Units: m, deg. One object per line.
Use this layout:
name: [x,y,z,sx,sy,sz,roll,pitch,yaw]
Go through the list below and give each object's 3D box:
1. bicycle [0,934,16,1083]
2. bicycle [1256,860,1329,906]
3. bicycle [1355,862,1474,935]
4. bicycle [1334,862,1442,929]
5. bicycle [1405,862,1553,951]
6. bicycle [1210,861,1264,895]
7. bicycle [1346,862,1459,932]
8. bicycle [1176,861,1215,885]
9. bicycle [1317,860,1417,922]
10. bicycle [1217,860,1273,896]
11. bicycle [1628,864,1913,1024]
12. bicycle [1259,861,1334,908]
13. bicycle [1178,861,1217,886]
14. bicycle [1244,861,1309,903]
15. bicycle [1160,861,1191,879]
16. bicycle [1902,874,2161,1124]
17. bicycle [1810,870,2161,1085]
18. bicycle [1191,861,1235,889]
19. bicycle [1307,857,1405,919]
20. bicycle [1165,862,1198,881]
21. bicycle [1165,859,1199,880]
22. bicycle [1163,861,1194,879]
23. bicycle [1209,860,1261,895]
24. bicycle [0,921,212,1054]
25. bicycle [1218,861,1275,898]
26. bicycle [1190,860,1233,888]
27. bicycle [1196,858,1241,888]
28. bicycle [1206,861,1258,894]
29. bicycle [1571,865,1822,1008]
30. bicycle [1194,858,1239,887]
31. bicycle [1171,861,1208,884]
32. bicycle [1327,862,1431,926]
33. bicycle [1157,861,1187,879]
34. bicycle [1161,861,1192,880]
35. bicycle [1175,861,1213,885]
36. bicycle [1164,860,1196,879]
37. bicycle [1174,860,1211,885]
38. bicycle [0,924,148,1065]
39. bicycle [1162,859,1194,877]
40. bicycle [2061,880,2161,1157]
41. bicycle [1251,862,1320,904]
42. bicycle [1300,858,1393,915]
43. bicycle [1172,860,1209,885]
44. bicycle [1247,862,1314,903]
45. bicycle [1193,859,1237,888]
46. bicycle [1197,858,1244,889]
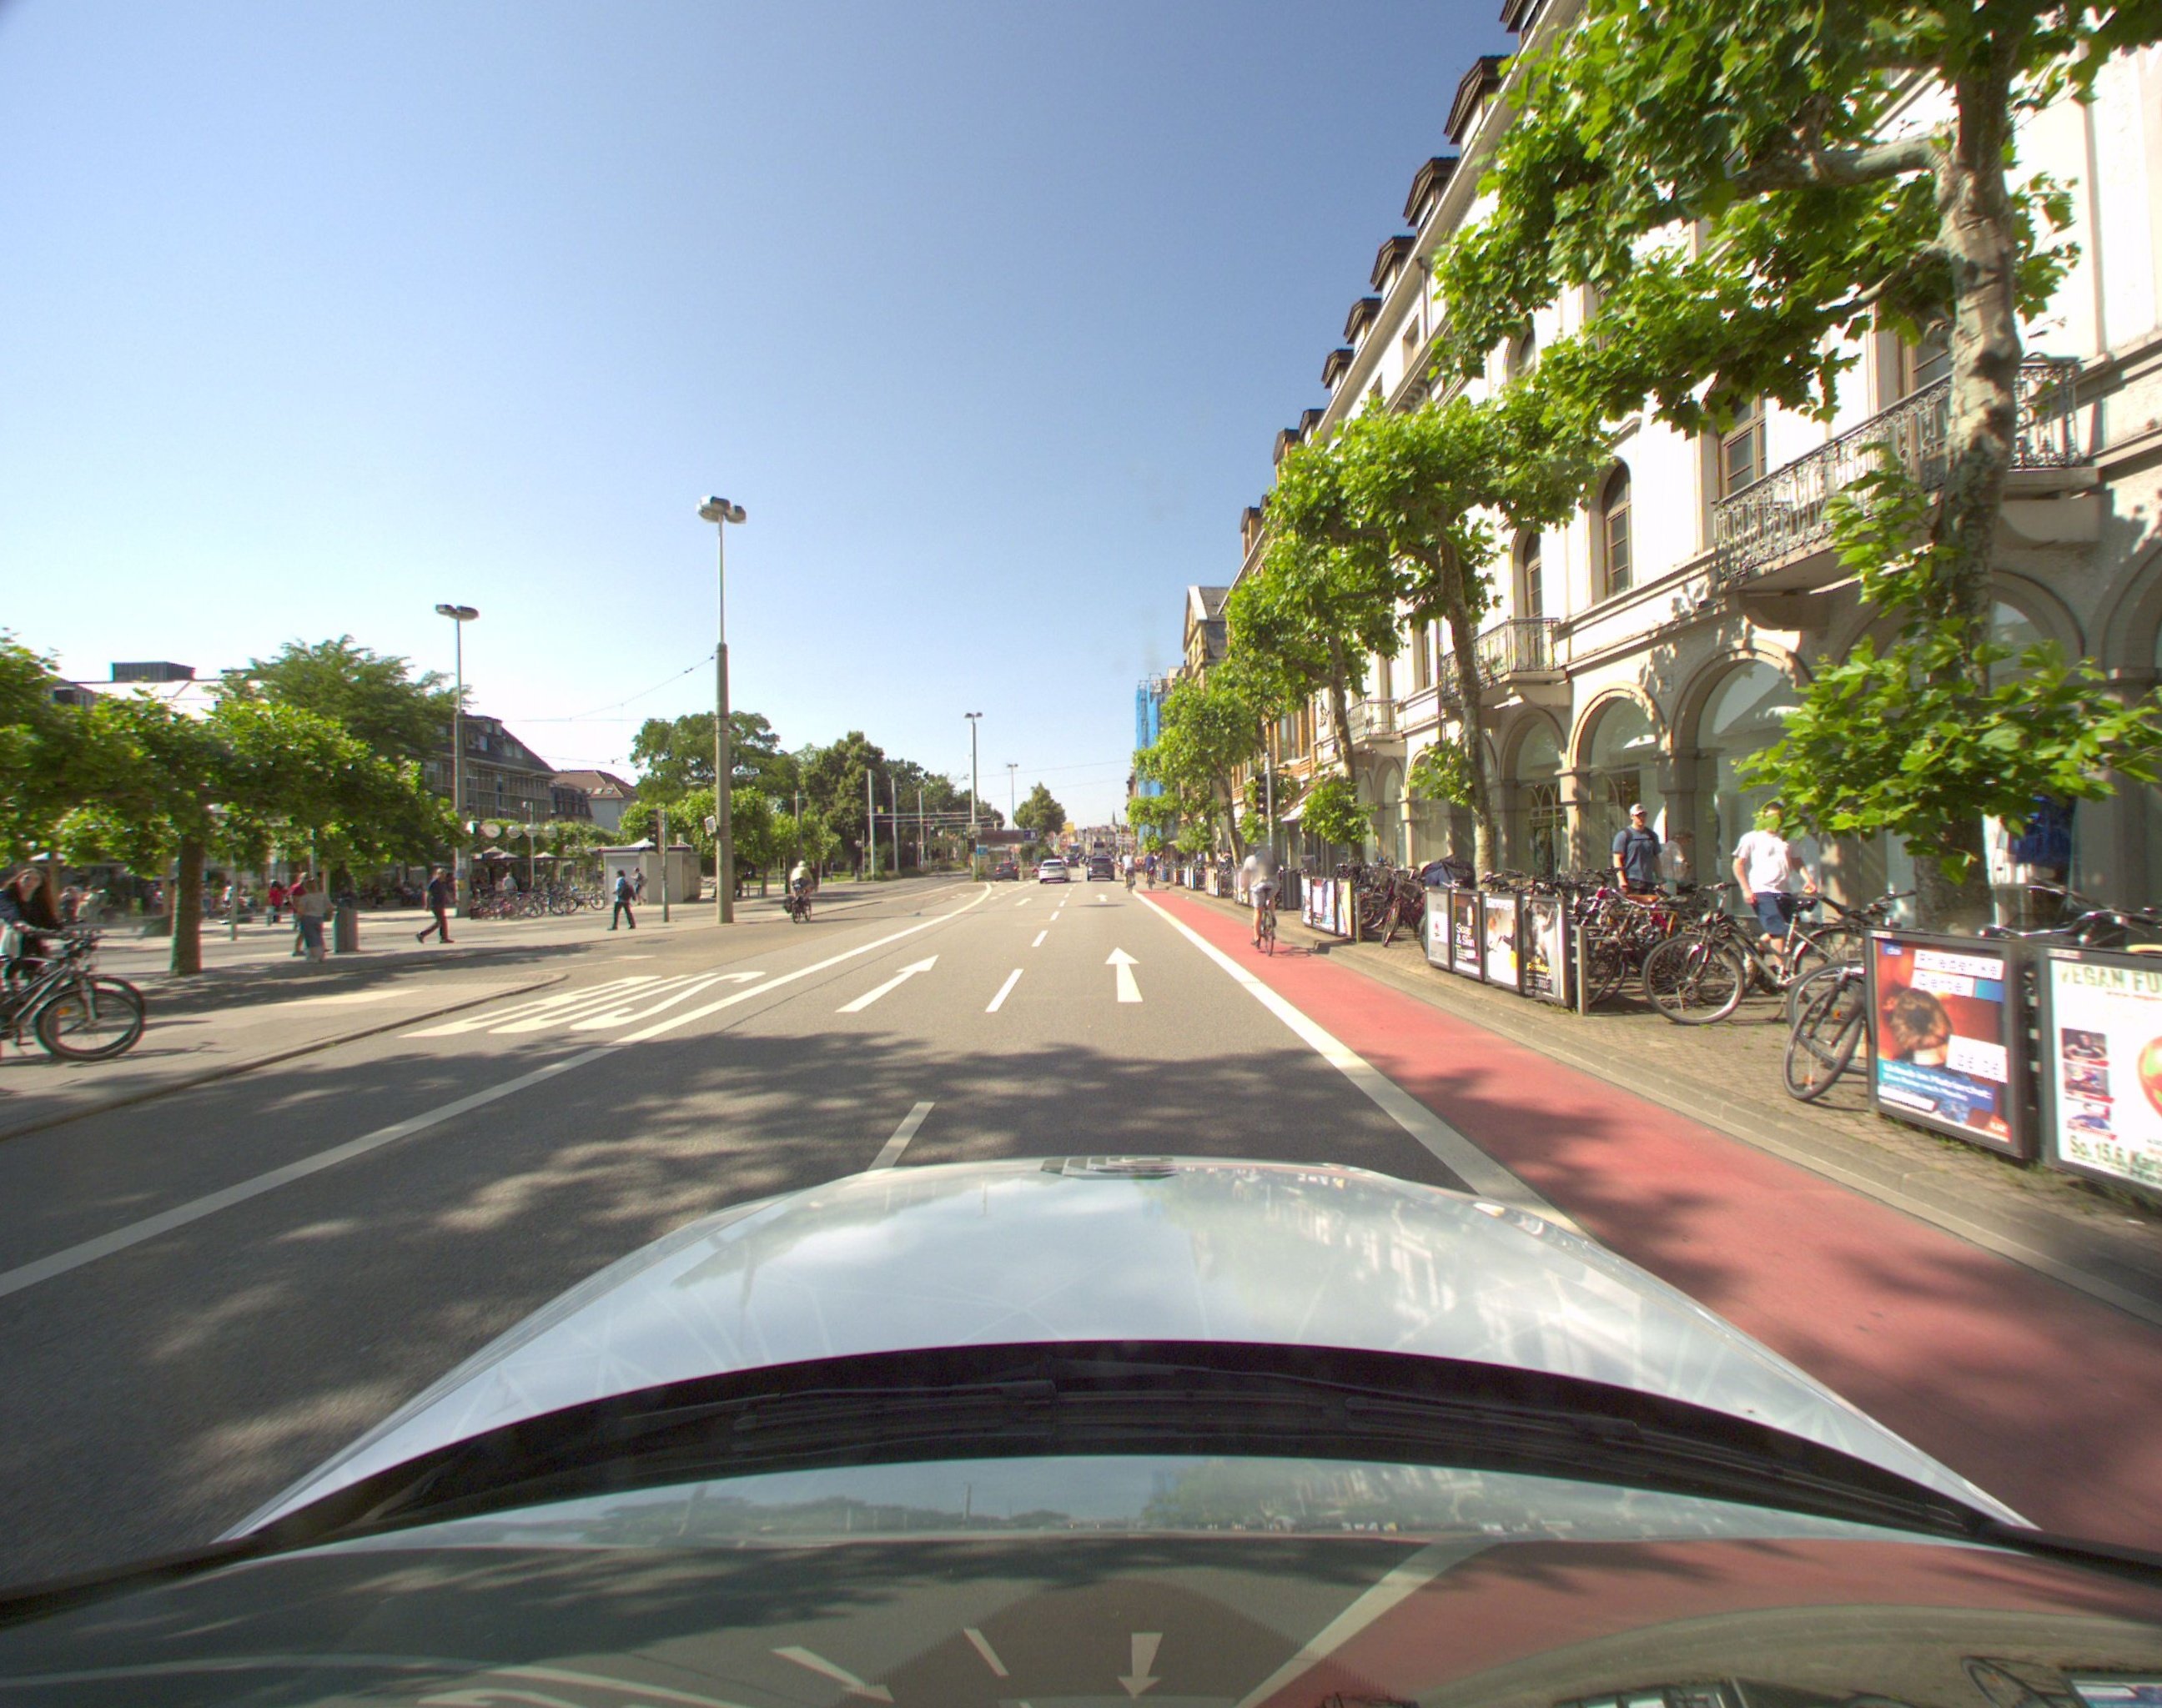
bicycle: [-9.348,1.228,6.163,1.855,1.147,0.482,-1,-1,-2]
bicycle: [5.498,0.750,21.232,1.748,1.147,0.482,-1,-1,-2]
bicycle: [5.483,0.718,13.421,1.748,1.147,0.482,-1,-1,-2]
bicycle: [5.484,0.729,14.580,1.748,1.147,0.482,-1,-1,-2]
bicycle: [5.457,0.704,11.221,1.748,1.147,0.592,-1,-1,-2]
bicycle: [5.408,0.829,28.262,1.748,1.147,0.482,-1,-1,-2]
bicycle: [5.491,0.721,13.952,1.748,1.147,0.482,-1,-1,-2]
bicycle: [5.477,0.904,38.924,1.748,1.147,0.482,-1,-1,-2]
bicycle: [5.545,0.713,15.825,1.748,1.147,0.482,-1,-1,-2]
bicycle: [5.443,0.799,27.122,1.748,1.147,0.527,-1,-1,-2]
bicycle: [5.362,0.674,6.387,1.748,1.147,0.592,-1,-1,-2]
bicycle: [5.470,0.775,20.717,1.748,1.147,0.482,-1,-1,-2]
bicycle: [5.478,0.917,38.421,1.748,1.147,0.482,-1,-1,-2]
bicycle: [5.610,0.795,23.379,1.748,1.147,0.482,-1,-1,-2]
bicycle: [5.569,0.964,48.152,1.748,1.018,0.482,-1,-1,-2]
bicycle: [5.401,0.693,4.207,1.748,1.147,0.592,-1,-1,-2]
bicycle: [5.387,0.687,4.794,1.748,1.147,0.518,-1,-1,-2]
bicycle: [5.573,0.868,34.425,1.748,1.147,0.482,-1,-1,-2]
bicycle: [5.530,0.680,16.422,1.794,1.194,0.482,-1,-1,-2]
bicycle: [5.535,0.942,44.977,1.748,1.018,0.482,-1,-1,-2]
bicycle: [5.520,0.844,44.447,1.748,1.147,0.482,-1,-1,-2]
bicycle: [5.543,0.909,46.375,1.712,0.985,0.482,-1,-1,-2]
bicycle: [5.446,0.834,28.860,1.748,1.187,0.482,-1,-1,-2]
bicycle: [-9.403,1.252,7.720,1.748,1.147,0.482,-1,-1,-2]
bicycle: [5.381,0.816,26.555,1.748,1.147,0.482,-1,-1,-2]
bicycle: [5.578,0.867,34.949,1.748,1.147,0.482,-1,-1,-2]
bicycle: [5.552,0.773,32.898,1.748,1.147,0.482,-1,-1,-2]
bicycle: [5.447,0.837,29.431,1.748,1.123,0.482,-1,-1,-2]
bicycle: [5.315,0.690,7.086,1.748,1.147,0.592,-1,-1,-2]
bicycle: [5.556,0.767,33.417,1.748,1.147,0.482,-1,-1,-2]
bicycle: [5.447,0.929,40.884,1.748,1.147,0.482,-1,-1,-2]
bicycle: [5.555,0.734,15.215,1.748,1.147,0.482,-1,-1,-2]
bicycle: [5.529,0.974,49.463,1.748,1.018,0.482,-1,-1,-2]
bicycle: [5.585,0.961,47.638,1.748,1.018,0.482,-1,-1,-2]
bicycle: [5.461,0.907,39.412,1.748,1.147,0.482,-1,-1,-2]
bicycle: [5.549,0.882,45.650,1.748,1.018,0.482,-1,-1,-2]
bicycle: [5.450,0.910,39.901,1.748,1.147,0.482,-1,-1,-2]
bicycle: [-9.444,1.235,7.209,1.748,1.147,0.482,-1,-1,-2]
bicycle: [5.607,0.808,47.112,1.748,1.018,0.482,-1,-1,-2]
bicycle: [5.406,0.682,3.485,1.748,1.147,0.592,-1,-1,-2]
bicycle: [5.618,0.785,22.375,1.748,1.087,0.482,-1,-1,-2]
bicycle: [5.519,0.666,16.995,1.769,1.147,0.482,-1,-1,-2]
bicycle: [5.449,0.914,40.384,1.748,1.147,0.482,-1,-1,-2]
bicycle: [5.599,0.790,22.871,1.748,1.105,0.482,-1,-1,-2]
bicycle: [5.572,0.809,33.923,1.748,1.147,0.482,-1,-1,-2]
bicycle: [5.542,0.768,32.301,1.748,1.147,0.499,-1,-1,-2]
